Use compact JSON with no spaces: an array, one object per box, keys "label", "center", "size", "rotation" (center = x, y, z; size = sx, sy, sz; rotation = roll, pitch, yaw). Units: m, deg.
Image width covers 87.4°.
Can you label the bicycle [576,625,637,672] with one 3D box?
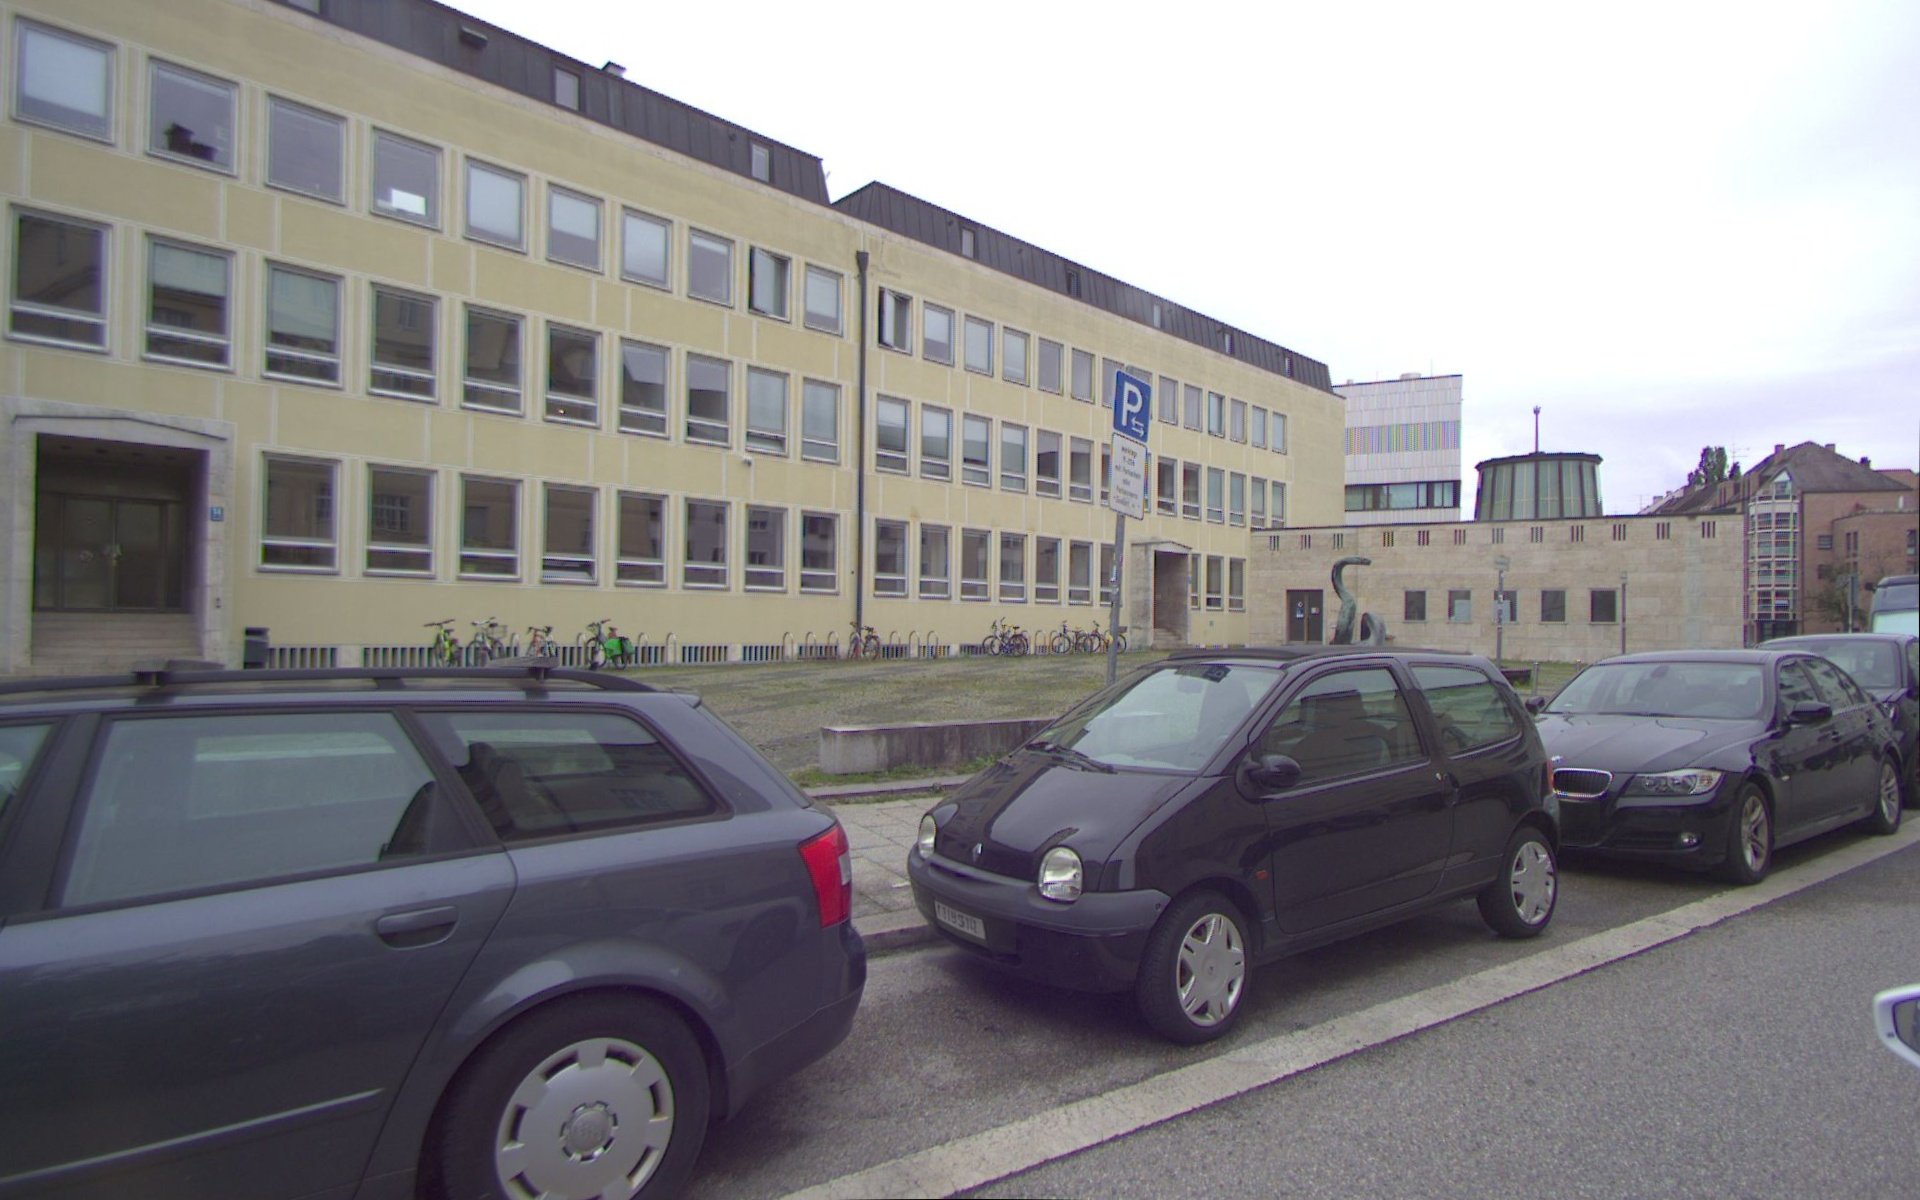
[{"label":"bicycle","center":[-8.222,1.100,23.308],"size":[0.621,1.028,1.928],"rotation":[1,-1,-43]}]

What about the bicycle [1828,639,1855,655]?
[{"label":"bicycle","center":[78.344,4.165,89.283],"size":[1.728,1.305,0.552],"rotation":[1,-1,30]}]

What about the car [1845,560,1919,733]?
[{"label":"car","center":[17.105,0.769,17.401],"size":[5.976,2.676,2.143],"rotation":[2,-3,-44]}]

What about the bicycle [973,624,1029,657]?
[{"label":"bicycle","center":[1.334,1.311,32.910],"size":[1.926,1.028,0.622],"rotation":[0,-1,44]}]

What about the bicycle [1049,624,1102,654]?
[{"label":"bicycle","center":[4.091,1.380,35.675],"size":[0.621,1.028,1.928],"rotation":[1,-1,-43]}]

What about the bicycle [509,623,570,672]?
[{"label":"bicycle","center":[-9.421,1.050,22.456],"size":[0.621,1.028,1.928],"rotation":[1,-1,-43]}]

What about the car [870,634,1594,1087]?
[{"label":"car","center":[1.386,0.919,4.891],"size":[3.276,1.472,1.647],"rotation":[1,-3,-33]}]

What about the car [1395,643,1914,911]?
[{"label":"car","center":[5.286,1.044,7.445],"size":[4.412,1.424,1.787],"rotation":[2,-3,-36]}]

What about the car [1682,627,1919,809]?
[{"label":"car","center":[8.744,1.059,10.003],"size":[2.949,1.521,1.659],"rotation":[2,-3,-36]}]

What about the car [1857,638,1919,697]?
[{"label":"car","center":[26.164,1.726,26.007],"size":[4.003,1.500,1.687],"rotation":[-2,-5,10]}]

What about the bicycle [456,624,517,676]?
[{"label":"bicycle","center":[-10.085,1.034,21.366],"size":[0.621,1.028,1.928],"rotation":[1,-1,-43]}]

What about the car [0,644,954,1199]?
[{"label":"car","center":[-2.317,0.859,2.530],"size":[4.345,1.472,1.746],"rotation":[1,-3,-31]}]

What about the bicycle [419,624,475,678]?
[{"label":"bicycle","center":[-10.582,1.030,20.697],"size":[0.620,1.028,1.931],"rotation":[1,-1,-39]}]

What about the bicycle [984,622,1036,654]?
[{"label":"bicycle","center":[1.666,1.266,33.775],"size":[0.620,1.028,1.931],"rotation":[1,-1,-39]}]

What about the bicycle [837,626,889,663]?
[{"label":"bicycle","center":[-2.851,1.276,29.237],"size":[0.619,1.028,1.933],"rotation":[1,-1,-36]}]

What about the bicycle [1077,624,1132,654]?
[{"label":"bicycle","center":[5.248,1.413,36.483],"size":[1.923,1.028,0.623],"rotation":[0,-1,40]}]

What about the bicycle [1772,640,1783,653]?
[{"label":"bicycle","center":[82.531,4.699,101.397],"size":[0.543,1.305,1.756],"rotation":[1,-1,30]}]
